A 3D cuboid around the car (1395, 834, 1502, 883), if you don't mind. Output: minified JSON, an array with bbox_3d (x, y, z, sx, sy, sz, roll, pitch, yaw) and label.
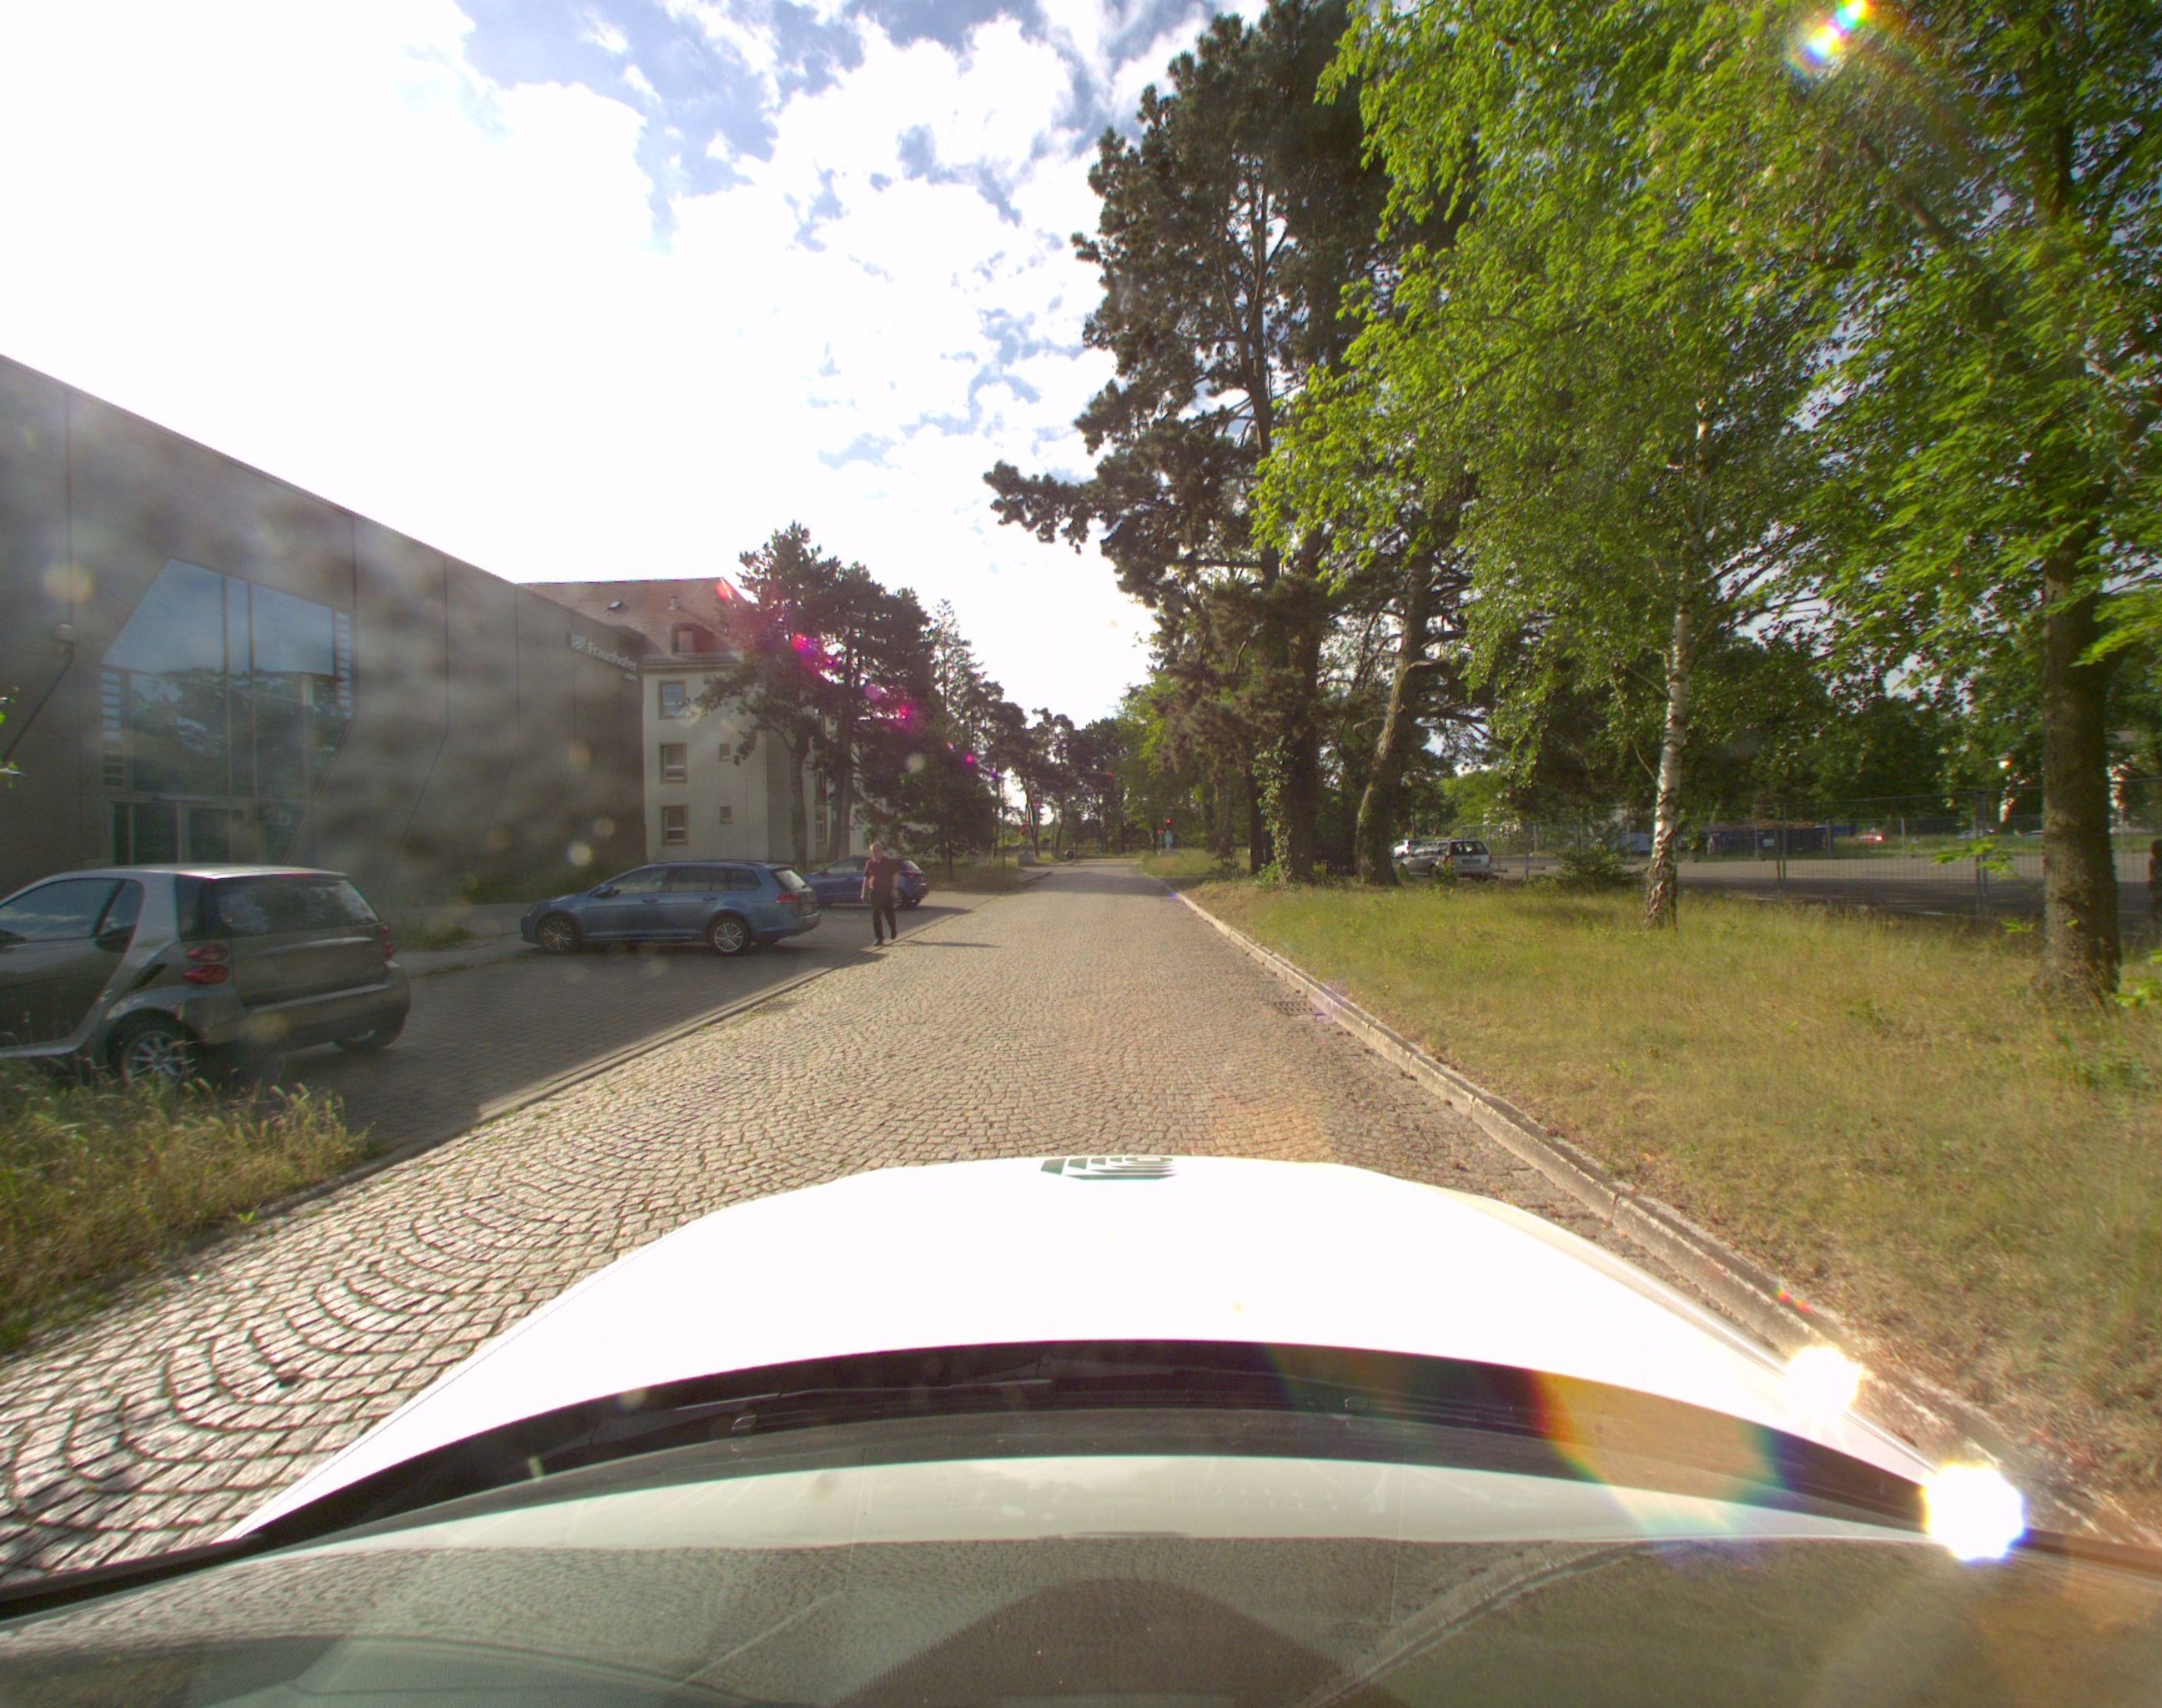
[{"bbox_3d":[12.209,0.134,27.332,1.663,1.467,3.997,-1,0,-2],"label":"car"}]

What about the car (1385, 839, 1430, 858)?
[{"bbox_3d":[25.986,-0.423,64.995,1.726,1.476,4.329,-1,0,-1],"label":"car"}]

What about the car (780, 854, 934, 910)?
[{"bbox_3d":[-6.238,0.762,22.948,3.820,1.464,1.721,0,0,3],"label":"car"}]

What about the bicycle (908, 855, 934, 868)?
[{"bbox_3d":[-14.126,0.637,71.865,2.111,1.047,0.828,-1,0,-2],"label":"bicycle"}]

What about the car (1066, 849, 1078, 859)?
[{"bbox_3d":[-1.442,-0.055,129.098,1.839,1.486,3.999,-1,0,0],"label":"car"}]

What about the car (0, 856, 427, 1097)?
[{"bbox_3d":[-6.862,0.804,6.088,2.689,1.542,1.519,0,0,1],"label":"car"}]

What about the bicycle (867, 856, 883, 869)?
[{"bbox_3d":[-18.437,0.757,73.071,0.823,1.047,2.125,-1,0,2],"label":"bicycle"}]

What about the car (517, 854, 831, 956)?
[{"bbox_3d":[-6.490,0.788,13.327,4.244,1.463,1.680,1,2,-1],"label":"car"}]

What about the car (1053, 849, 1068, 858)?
[{"bbox_3d":[-3.349,-0.061,133.882,1.772,1.490,3.765,-1,0,9],"label":"car"}]

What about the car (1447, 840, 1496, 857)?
[{"bbox_3d":[31.347,-0.448,65.464,1.726,1.312,4.329,-2,0,-1],"label":"car"}]

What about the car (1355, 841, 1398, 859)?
[{"bbox_3d":[23.464,-0.336,64.741,1.726,1.312,4.329,-1,1,-1],"label":"car"}]

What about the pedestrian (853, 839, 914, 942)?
[{"bbox_3d":[-3.552,0.628,14.721,0.802,1.771,1.152,-1,0,-2],"label":"pedestrian"}]
